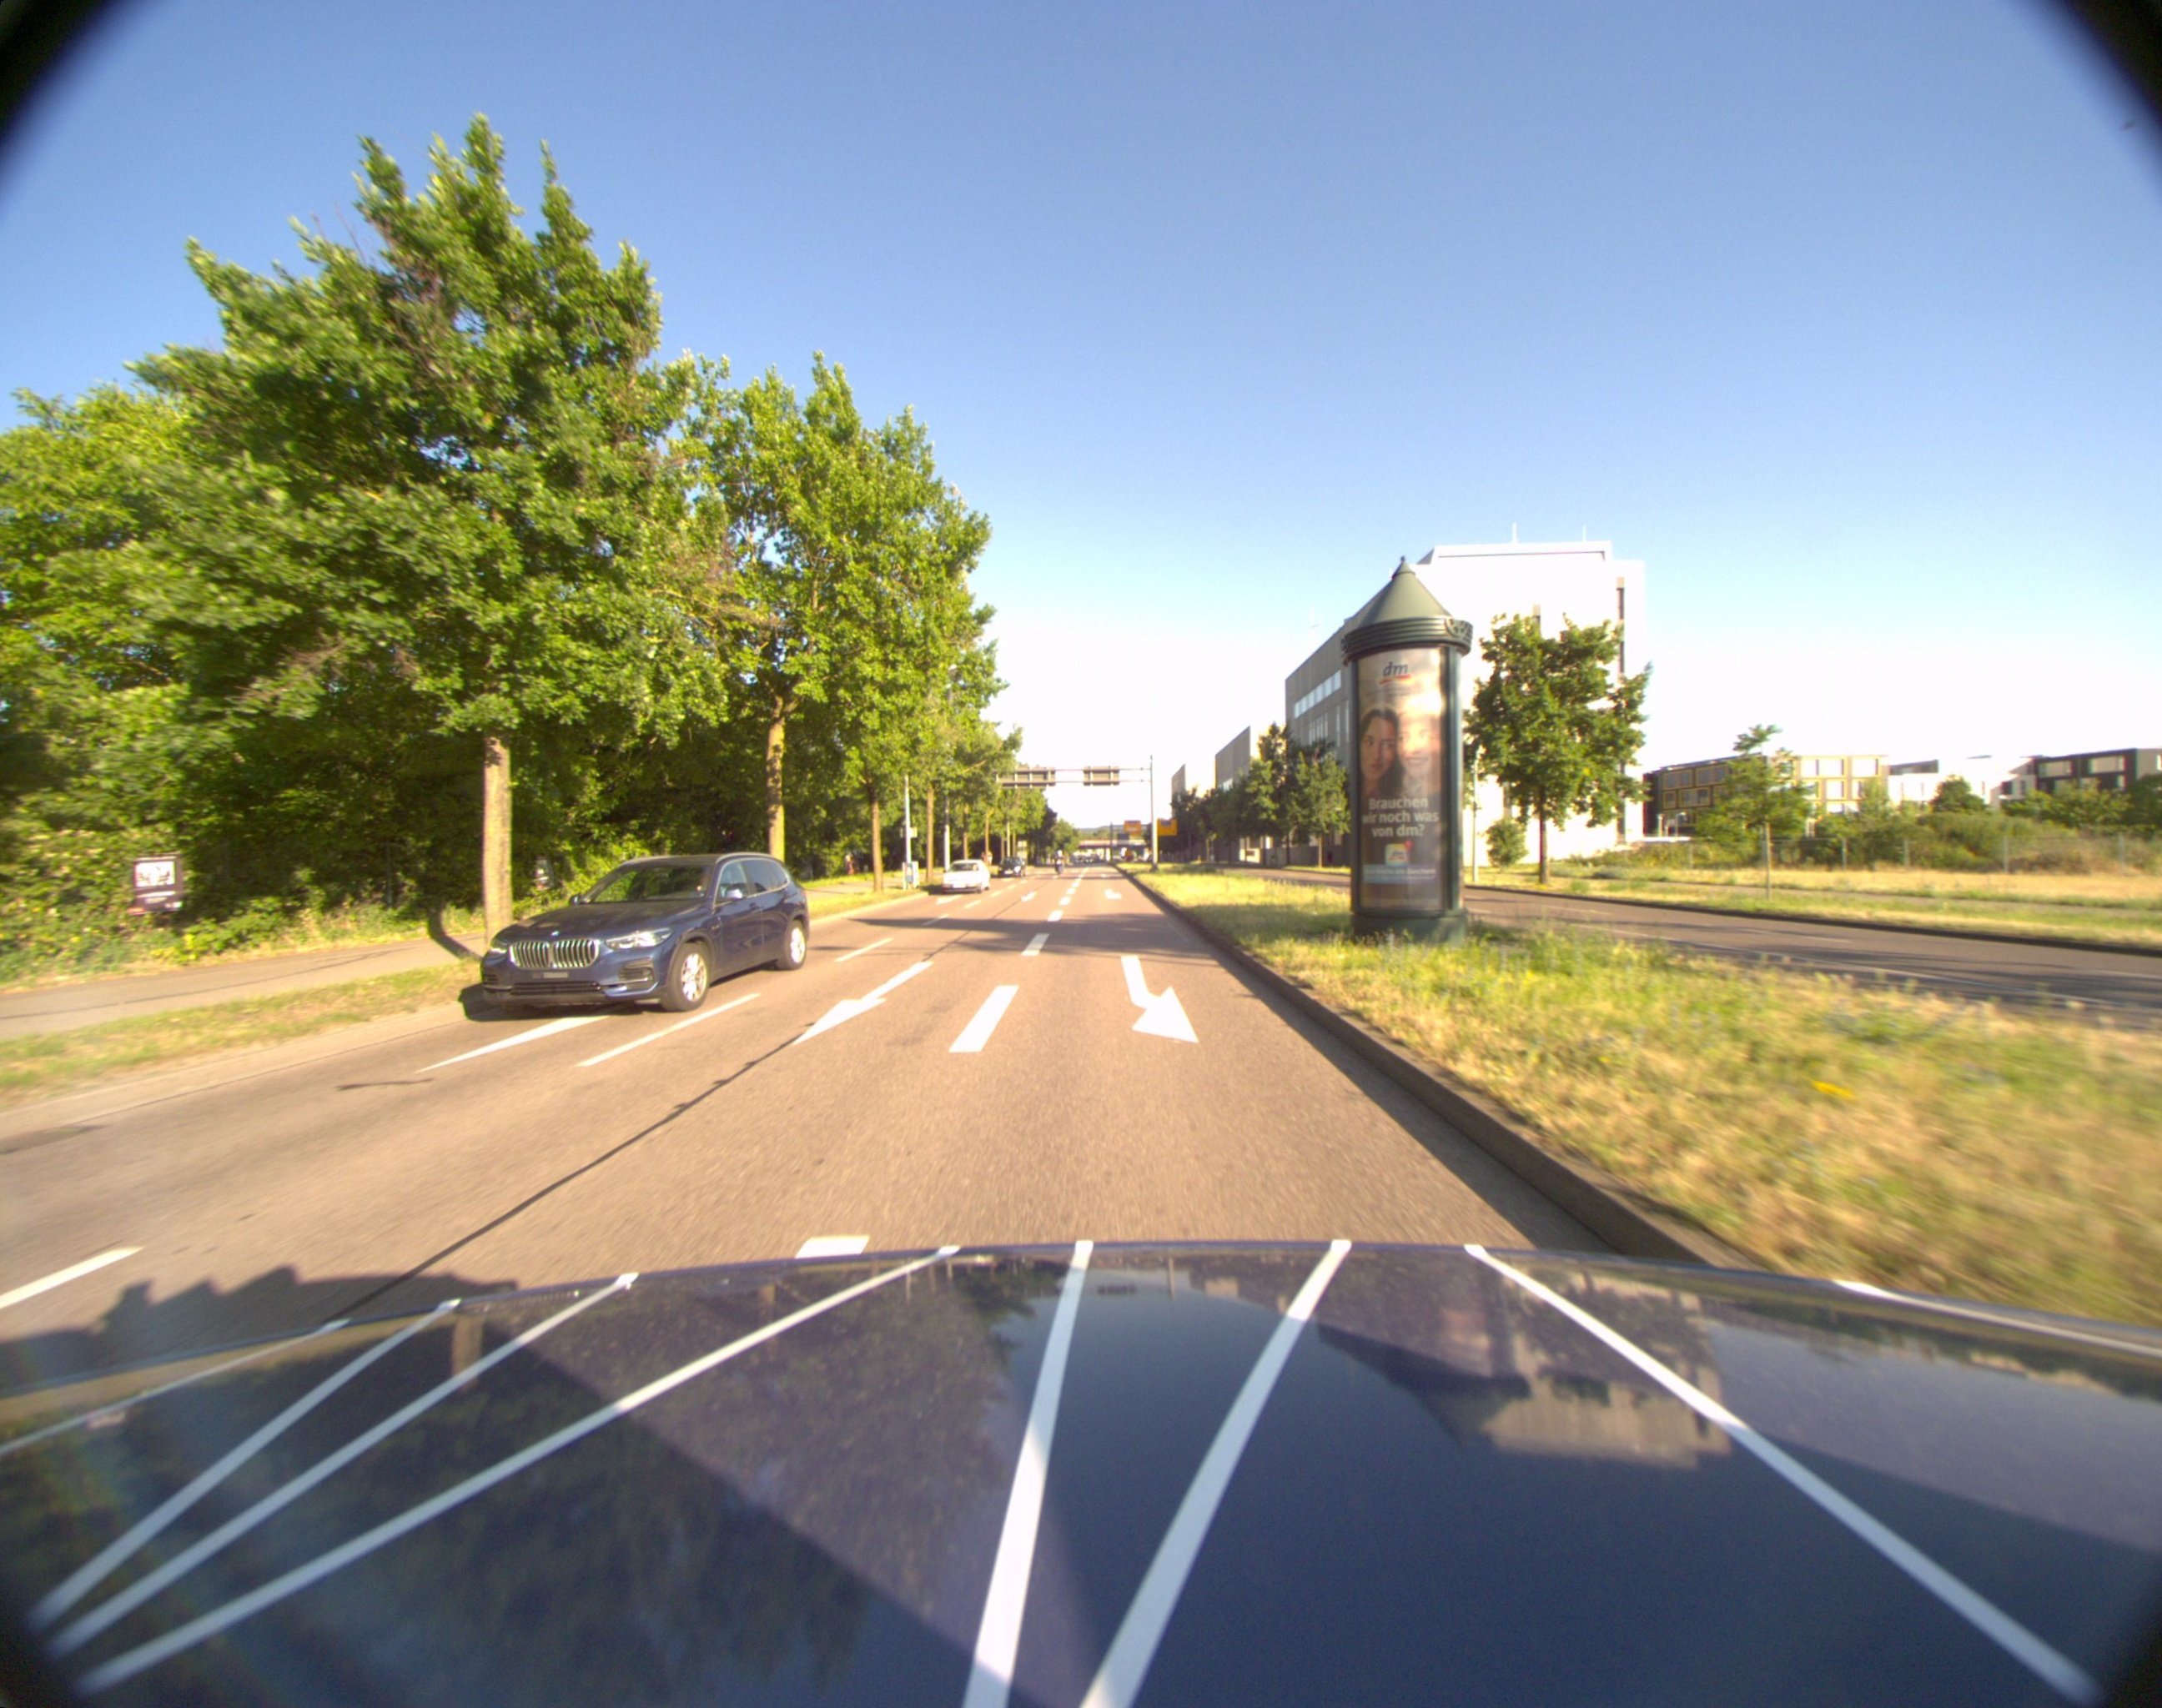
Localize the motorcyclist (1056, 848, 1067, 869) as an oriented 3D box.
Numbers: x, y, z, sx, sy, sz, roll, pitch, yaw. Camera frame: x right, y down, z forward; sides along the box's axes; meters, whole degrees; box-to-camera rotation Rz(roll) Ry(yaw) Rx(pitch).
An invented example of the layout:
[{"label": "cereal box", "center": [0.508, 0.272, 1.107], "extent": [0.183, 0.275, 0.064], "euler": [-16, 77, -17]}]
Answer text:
[{"label": "motorcyclist", "center": [-1.393, 0.327, 54.695], "extent": [0.734, 1.503, 0.919], "euler": [-1, 1, 0]}]

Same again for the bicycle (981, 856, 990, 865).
[{"label": "bicycle", "center": [-10.581, 0.717, 84.386], "extent": [0.618, 0.968, 1.822], "euler": [-1, 0, 3]}]

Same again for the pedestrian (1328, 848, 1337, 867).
[{"label": "pedestrian", "center": [24.603, 0.357, 74.224], "extent": [0.634, 1.830, 0.716], "euler": [-1, 0, 3]}]

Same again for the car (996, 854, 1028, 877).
[{"label": "car", "center": [-4.709, 0.751, 52.109], "extent": [1.726, 1.490, 4.214], "euler": [-2, 0, 1]}]

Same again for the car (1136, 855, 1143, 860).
[{"label": "car", "center": [19.544, 1.245, 254.533], "extent": [1.601, 1.504, 3.864], "euler": [-1, 0, -8]}]

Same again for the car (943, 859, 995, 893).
[{"label": "car", "center": [-4.886, 0.940, 33.563], "extent": [1.615, 1.390, 4.039], "euler": [-2, -1, 1]}]

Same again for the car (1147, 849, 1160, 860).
[{"label": "car", "center": [10.737, 0.083, 112.296], "extent": [1.566, 1.565, 3.411], "euler": [-1, 1, -1]}]

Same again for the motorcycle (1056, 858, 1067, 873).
[{"label": "motorcycle", "center": [-1.396, 0.822, 54.590], "extent": [0.749, 0.977, 2.140], "euler": [-1, 0, 0]}]

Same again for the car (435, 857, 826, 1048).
[{"label": "car", "center": [-5.147, 0.970, 9.689], "extent": [1.959, 1.717, 4.699], "euler": [-2, 1, 2]}]

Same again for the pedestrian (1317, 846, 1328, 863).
[{"label": "pedestrian", "center": [23.759, 0.044, 74.705], "extent": [0.778, 1.592, 0.909], "euler": [-1, 0, 3]}]

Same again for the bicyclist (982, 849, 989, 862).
[{"label": "bicyclist", "center": [-10.590, 0.164, 84.394], "extent": [0.614, 1.493, 0.848], "euler": [-1, 0, 3]}]
